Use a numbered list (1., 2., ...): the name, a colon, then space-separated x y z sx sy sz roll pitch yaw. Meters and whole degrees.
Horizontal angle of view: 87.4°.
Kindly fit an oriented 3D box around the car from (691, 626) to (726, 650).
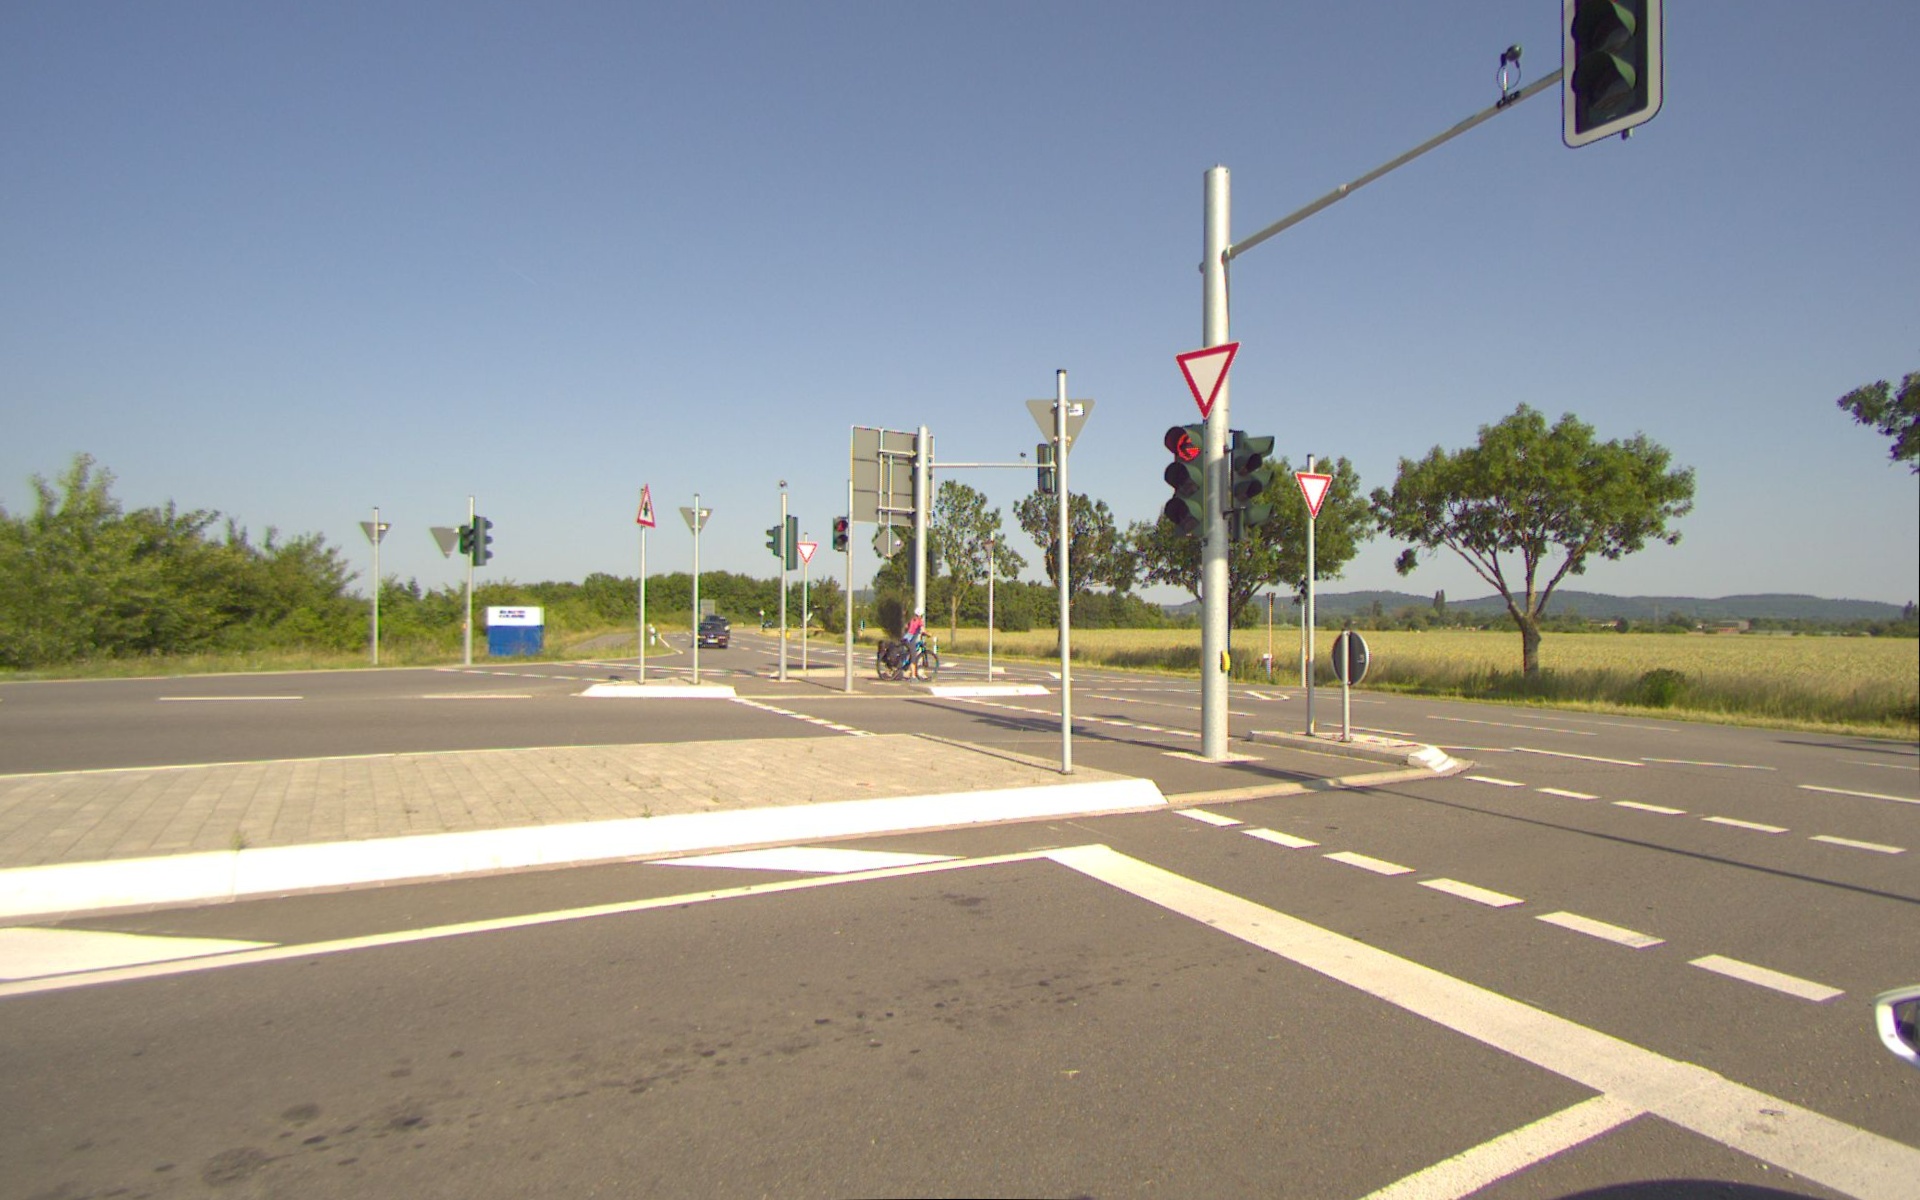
1. car: -13.294 1.992 53.063 1.711 1.127 3.988 3 -2 -15

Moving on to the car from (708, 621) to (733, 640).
1. car: -20.247 2.559 84.852 1.832 1.562 3.987 2 -2 -16

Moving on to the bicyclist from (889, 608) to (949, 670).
1. bicyclist: -0.959 0.905 23.475 1.062 1.369 0.851 3 -1 -32

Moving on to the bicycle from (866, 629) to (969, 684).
1. bicycle: -0.987 1.321 23.428 2.127 1.164 1.064 3 -1 -32
